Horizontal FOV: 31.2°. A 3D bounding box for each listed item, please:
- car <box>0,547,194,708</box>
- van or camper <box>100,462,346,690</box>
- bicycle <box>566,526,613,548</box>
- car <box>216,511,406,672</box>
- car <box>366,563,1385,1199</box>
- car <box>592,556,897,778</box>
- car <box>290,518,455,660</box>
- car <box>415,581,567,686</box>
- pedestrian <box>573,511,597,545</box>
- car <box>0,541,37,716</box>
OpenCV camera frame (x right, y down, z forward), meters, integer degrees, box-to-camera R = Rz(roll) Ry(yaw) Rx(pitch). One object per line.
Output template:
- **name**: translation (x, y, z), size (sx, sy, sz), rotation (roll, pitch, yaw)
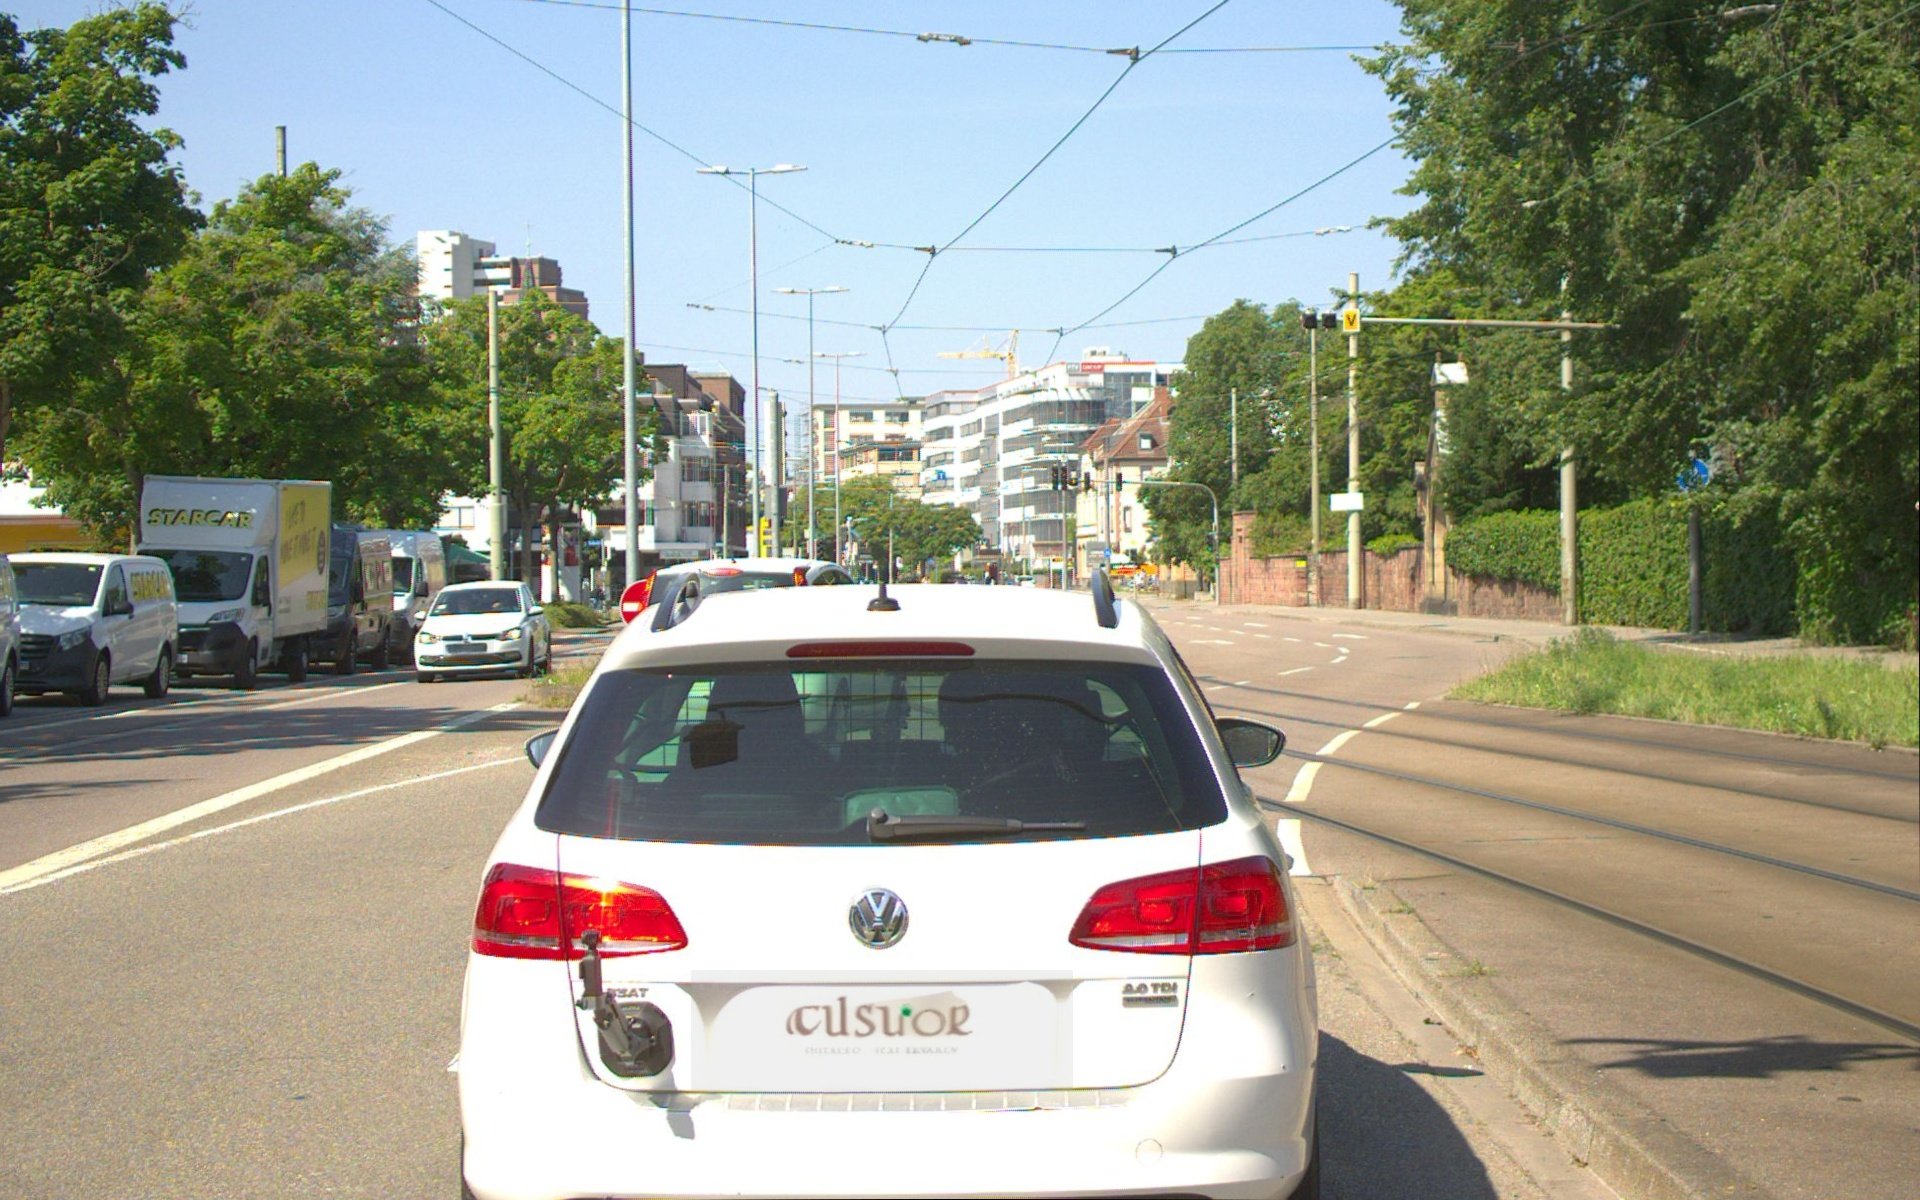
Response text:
- **car**: translation (-11.496, 0.318, 44.446), size (2.195, 1.934, 5.185), rotation (-1, 1, -2)
- **van or camper**: translation (-11.207, -0.381, 52.809), size (2.196, 3.230, 6.772), rotation (1, 1, 1)
- **bicycle**: translation (-16.018, -2.738, 148.472), size (0.553, 0.918, 2.172), rotation (-1, 1, 43)
- **car**: translation (-11.383, -0.177, 60.741), size (2.196, 2.659, 6.080), rotation (1, 1, 0)
- **car**: translation (-0.155, 0.674, 7.994), size (1.778, 1.485, 3.847), rotation (1, 1, 0)
- **car**: translation (-1.609, 0.466, 27.008), size (1.731, 1.591, 4.010), rotation (1, 1, 6)
- **car**: translation (-11.461, -0.243, 67.457), size (2.196, 2.622, 5.979), rotation (1, 1, 0)
- **car**: translation (-6.922, 0.466, 51.073), size (1.727, 1.460, 4.000), rotation (0, 1, 0)
- **pedestrian**: translation (-16.260, -3.111, 149.031), size (0.566, 1.482, 0.814), rotation (-1, 1, 43)
- **car**: translation (-11.687, 0.340, 37.502), size (2.195, 1.934, 5.186), rotation (-1, 1, -5)
